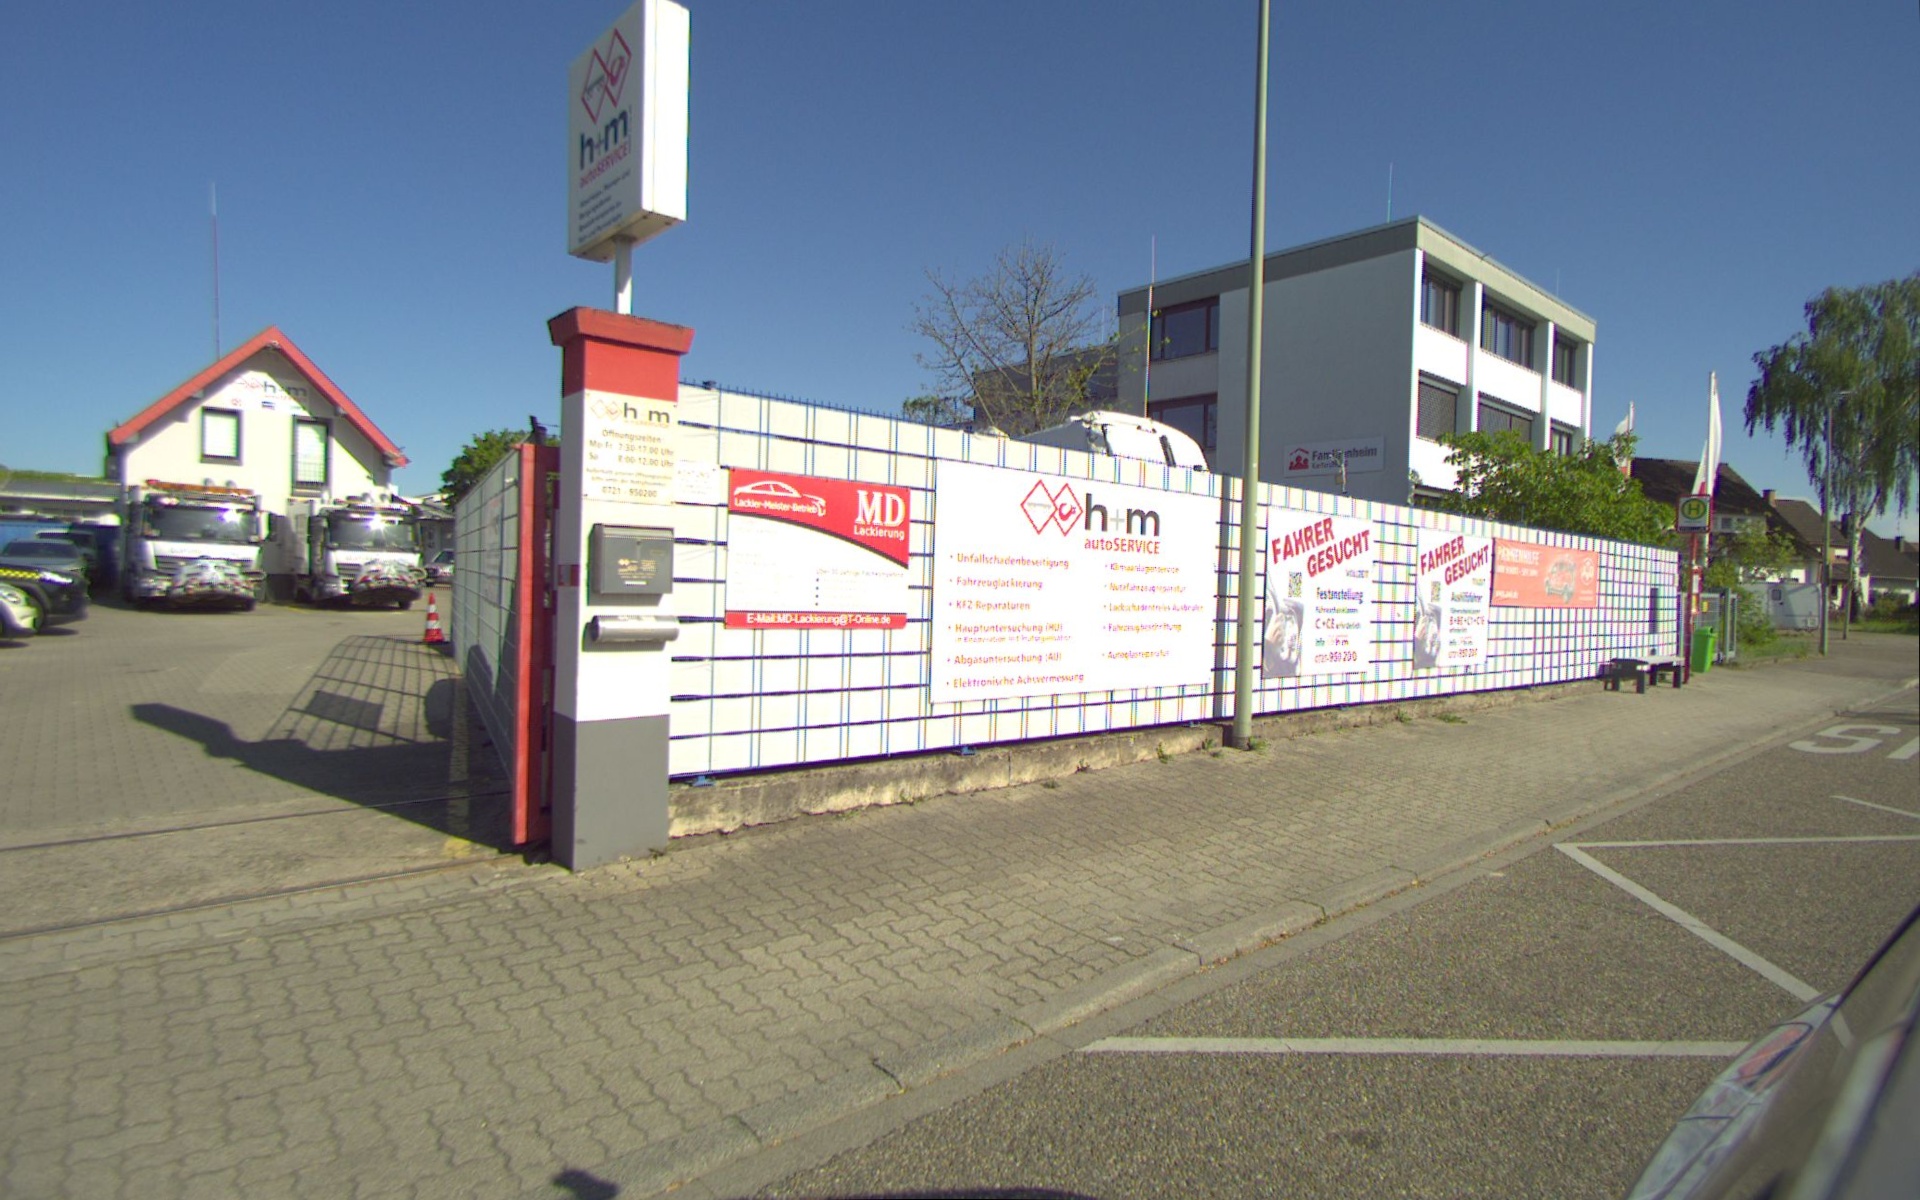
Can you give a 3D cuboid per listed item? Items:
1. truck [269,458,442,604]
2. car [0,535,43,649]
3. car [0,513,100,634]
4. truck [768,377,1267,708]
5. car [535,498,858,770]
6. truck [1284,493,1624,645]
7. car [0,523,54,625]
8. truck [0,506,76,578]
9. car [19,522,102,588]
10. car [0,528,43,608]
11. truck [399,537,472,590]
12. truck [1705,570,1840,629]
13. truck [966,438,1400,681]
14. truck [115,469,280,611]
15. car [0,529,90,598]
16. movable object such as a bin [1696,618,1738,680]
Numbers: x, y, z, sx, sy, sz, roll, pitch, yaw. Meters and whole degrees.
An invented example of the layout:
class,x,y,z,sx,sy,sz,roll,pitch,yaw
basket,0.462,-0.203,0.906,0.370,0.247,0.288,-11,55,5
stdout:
class,x,y,z,sx,sy,sz,roll,pitch,yaw
truck,-16.101,-1.631,26.741,2.566,3.386,6.487,0,0,-44
car,-14.441,-0.152,12.573,4.452,1.438,1.874,0,3,-42
car,-15.607,-0.448,14.902,4.452,1.771,1.874,0,3,-42
truck,0.235,-0.615,11.925,2.336,2.851,6.243,1,2,-37
car,-2.565,0.091,8.905,1.935,1.763,4.315,1,3,-26
truck,10.512,-0.702,22.139,2.336,2.851,6.243,1,2,-37
car,-17.597,-0.494,16.682,3.913,1.672,1.874,0,3,-42
truck,-40.723,-2.436,44.396,2.664,2.876,5.979,0,0,-39
car,-30.379,-1.521,34.276,1.964,2.072,3.996,0,2,-40
car,-21.398,-0.715,20.649,3.913,1.611,1.874,0,3,-42
truck,-30.230,-2.123,58.229,2.339,2.851,6.236,0,2,-41
truck,36.986,-0.064,46.221,4.343,2.496,1.983,2,1,25
truck,2.946,-0.595,15.109,2.336,2.851,6.243,1,2,-37
truck,-18.347,-1.349,24.147,2.563,2.902,7.161,1,2,-41
car,-24.203,-0.979,26.717,1.771,1.667,3.996,0,2,-40
movable object such as a bin,12.295,0.791,16.441,0.557,0.967,0.383,1,1,-38
